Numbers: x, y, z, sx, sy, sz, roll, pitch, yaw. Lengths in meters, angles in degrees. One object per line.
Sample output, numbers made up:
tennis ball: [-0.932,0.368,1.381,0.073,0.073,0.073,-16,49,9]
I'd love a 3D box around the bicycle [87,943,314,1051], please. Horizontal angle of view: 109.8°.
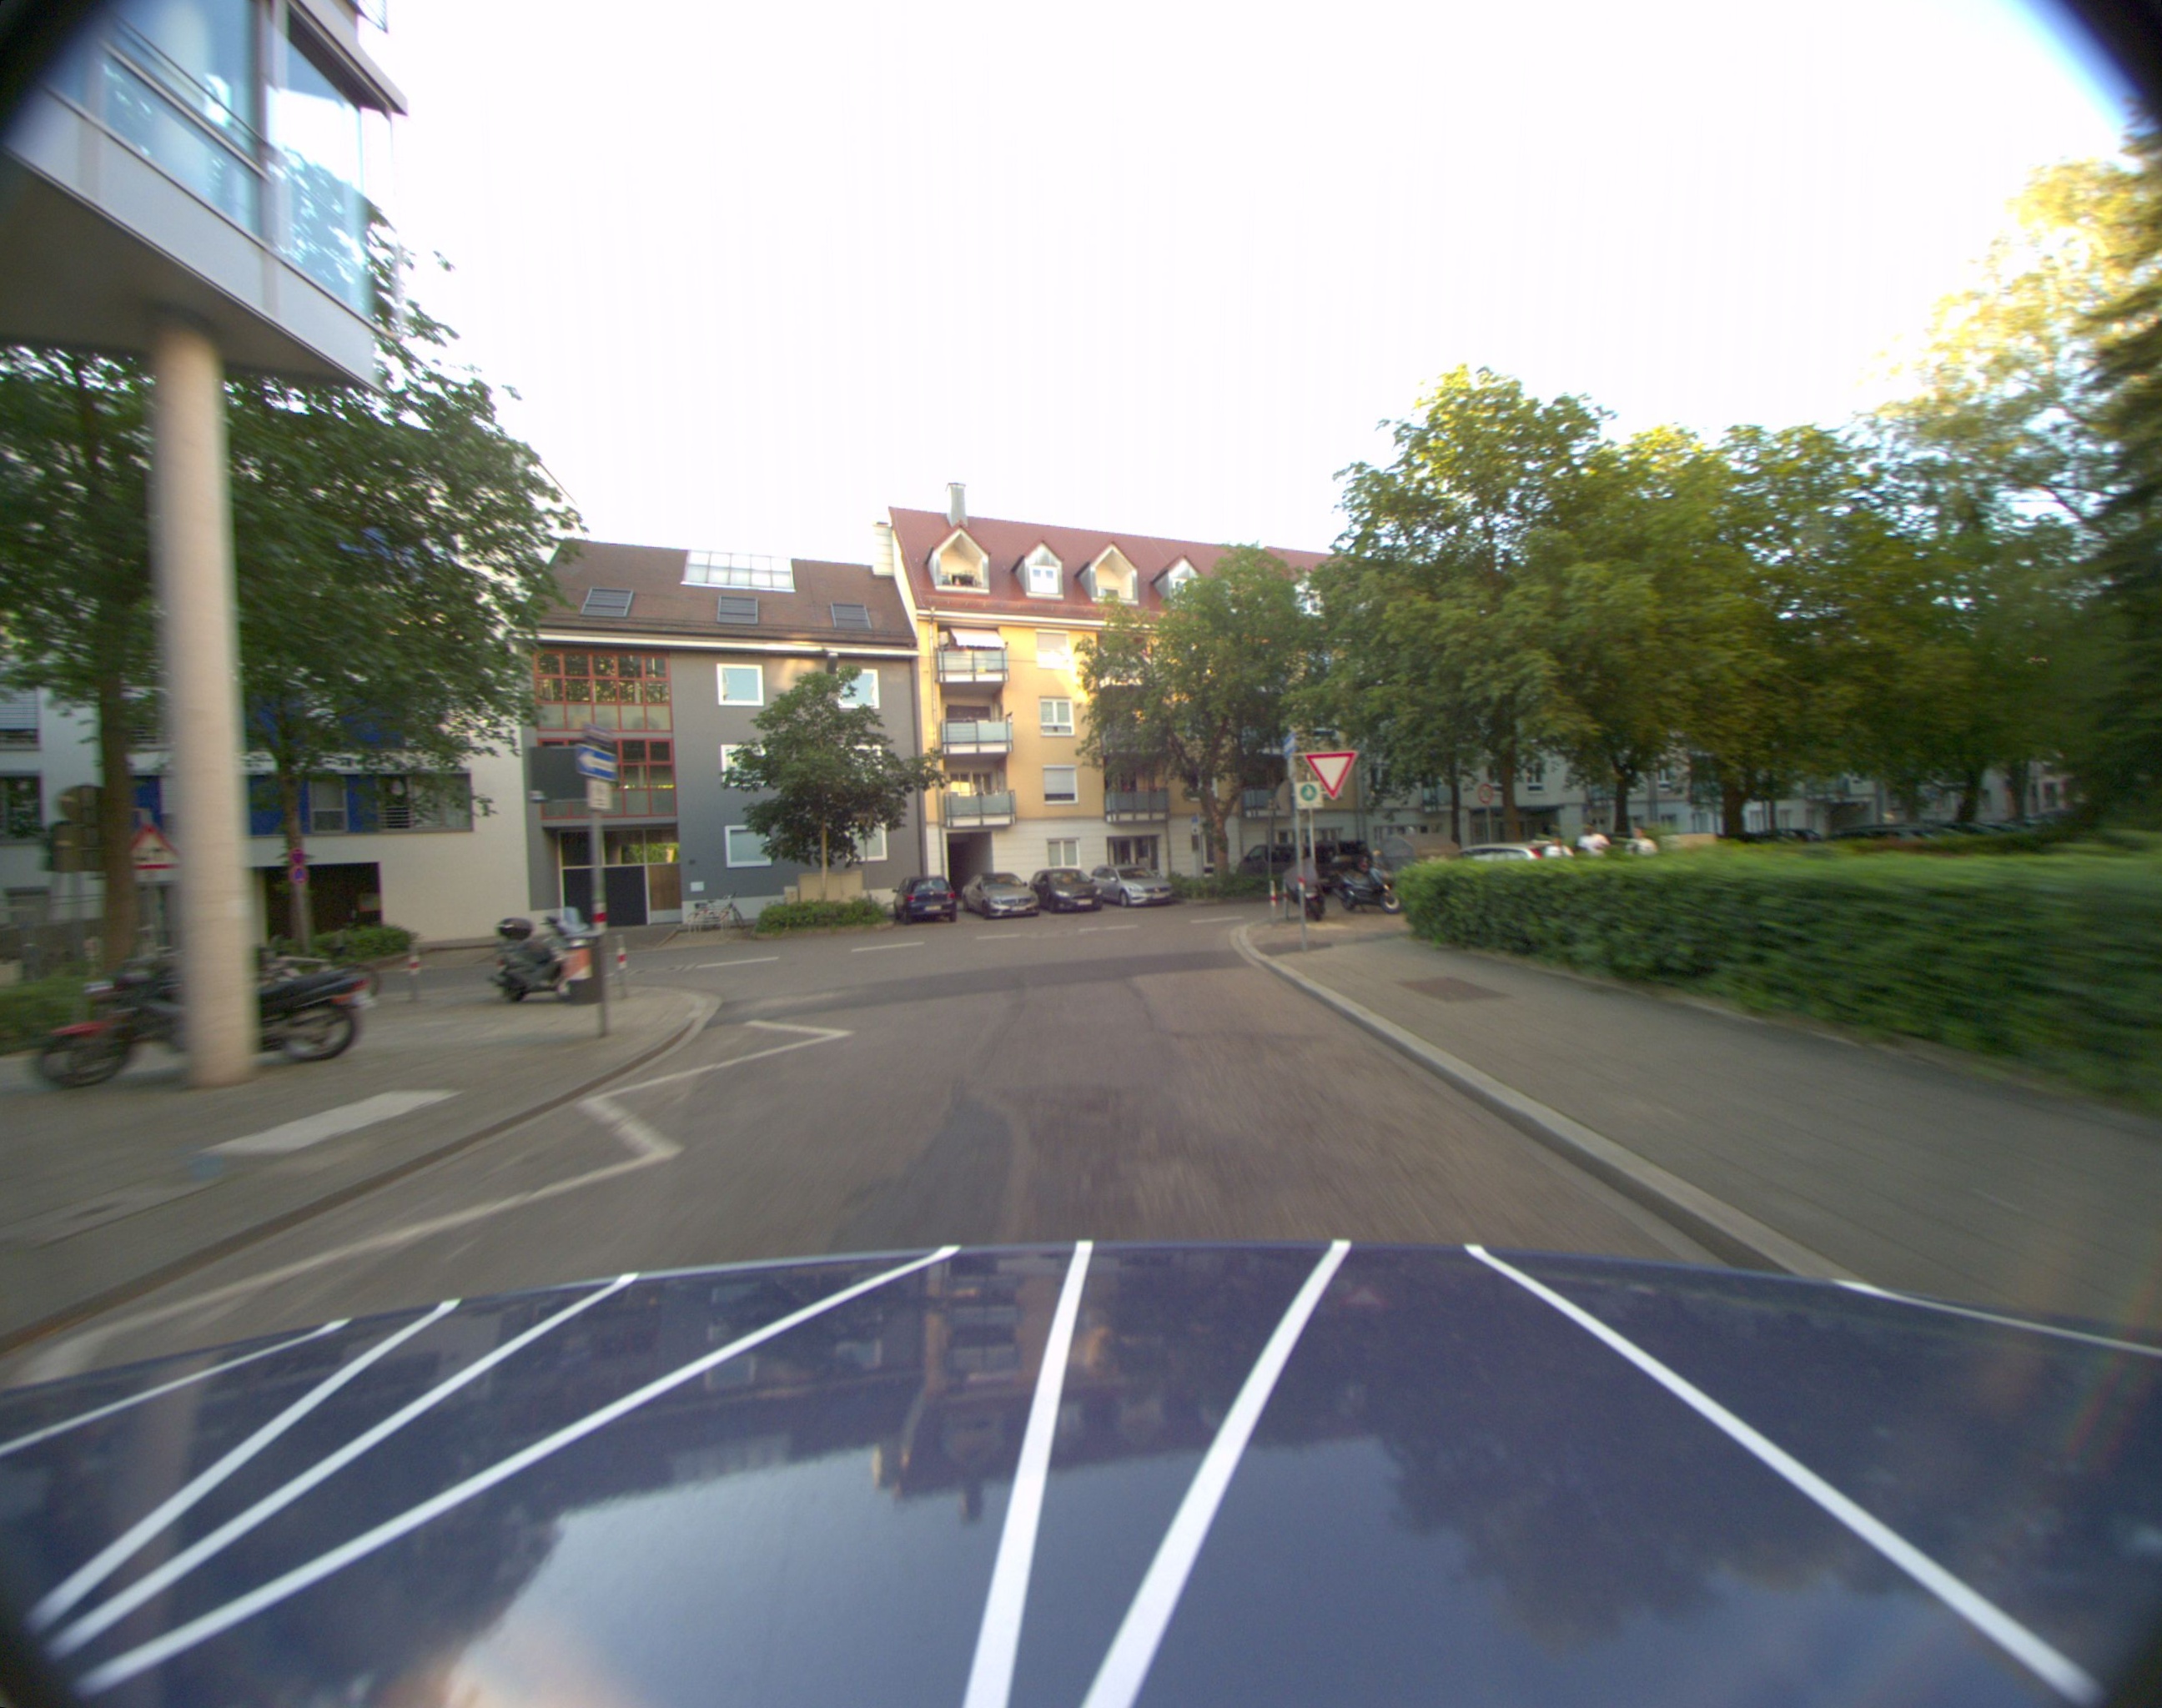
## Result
bicycle: [-11.180,1.789,9.725,1.801,1.111,0.602,-2,-1,-21]

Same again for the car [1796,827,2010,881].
car: [25.405,0.064,23.678,1.748,1.371,4.108,-3,-3,-23]

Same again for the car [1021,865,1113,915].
car: [-0.577,1.278,27.157,1.855,1.554,4.074,-3,-1,-22]

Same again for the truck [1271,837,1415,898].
truck: [10.516,0.431,31.197,2.263,2.121,6.011,-3,3,-21]

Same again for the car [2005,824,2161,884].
car: [35.796,-0.005,26.252,2.002,1.880,4.427,-3,-2,-21]

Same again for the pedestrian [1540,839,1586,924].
pedestrian: [10.293,0.589,16.244,0.697,1.777,0.530,-3,-1,29]

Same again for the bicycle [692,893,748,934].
bicycle: [-11.586,1.903,24.448,1.501,1.166,0.726,-3,4,-20]

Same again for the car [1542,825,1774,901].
car: [15.189,0.319,20.324,2.066,1.674,4.405,-2,-3,-23]

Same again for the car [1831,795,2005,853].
car: [27.619,-0.950,25.196,1.762,1.599,3.410,-3,-1,-23]

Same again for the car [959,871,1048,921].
car: [-2.776,1.423,26.285,1.874,1.499,4.287,-3,-1,-22]

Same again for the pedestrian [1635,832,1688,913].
pedestrian: [11.625,0.373,15.227,0.448,1.562,0.660,-4,1,-16]

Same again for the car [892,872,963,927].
car: [-5.120,1.442,25.085,1.747,1.517,3.356,-3,1,-20]

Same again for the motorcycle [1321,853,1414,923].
motorcycle: [6.607,0.778,17.682,0.692,1.484,2.221,-3,-1,-19]

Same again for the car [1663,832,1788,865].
car: [32.795,-0.287,38.813,1.774,1.543,4.578,-3,1,-21]

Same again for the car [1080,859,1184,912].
car: [1.774,1.162,28.211,1.838,1.693,4.804,-3,-1,-22]

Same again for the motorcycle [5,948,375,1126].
motorcycle: [-7.934,1.581,6.904,2.128,1.266,0.615,-1,-1,-22]

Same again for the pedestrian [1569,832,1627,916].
pedestrian: [11.303,0.433,16.632,0.666,1.777,0.698,-3,-1,-16]

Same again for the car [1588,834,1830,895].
car: [17.237,0.357,21.212,2.074,1.415,4.724,-3,-2,-23]

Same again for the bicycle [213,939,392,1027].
bicycle: [-11.869,1.938,11.655,1.801,1.111,0.602,-2,-1,-21]

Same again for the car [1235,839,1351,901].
car: [8.277,0.536,30.113,2.038,2.121,4.625,-3,2,-21]

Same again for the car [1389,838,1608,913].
car: [10.305,0.631,19.213,2.056,1.571,4.508,-3,-3,-20]

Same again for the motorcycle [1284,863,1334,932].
motorcycle: [4.977,0.907,16.691,0.722,1.366,2.226,-3,-1,10]

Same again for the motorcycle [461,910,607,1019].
motorcycle: [-8.222,1.613,11.383,2.374,1.432,0.803,-4,-1,30]
